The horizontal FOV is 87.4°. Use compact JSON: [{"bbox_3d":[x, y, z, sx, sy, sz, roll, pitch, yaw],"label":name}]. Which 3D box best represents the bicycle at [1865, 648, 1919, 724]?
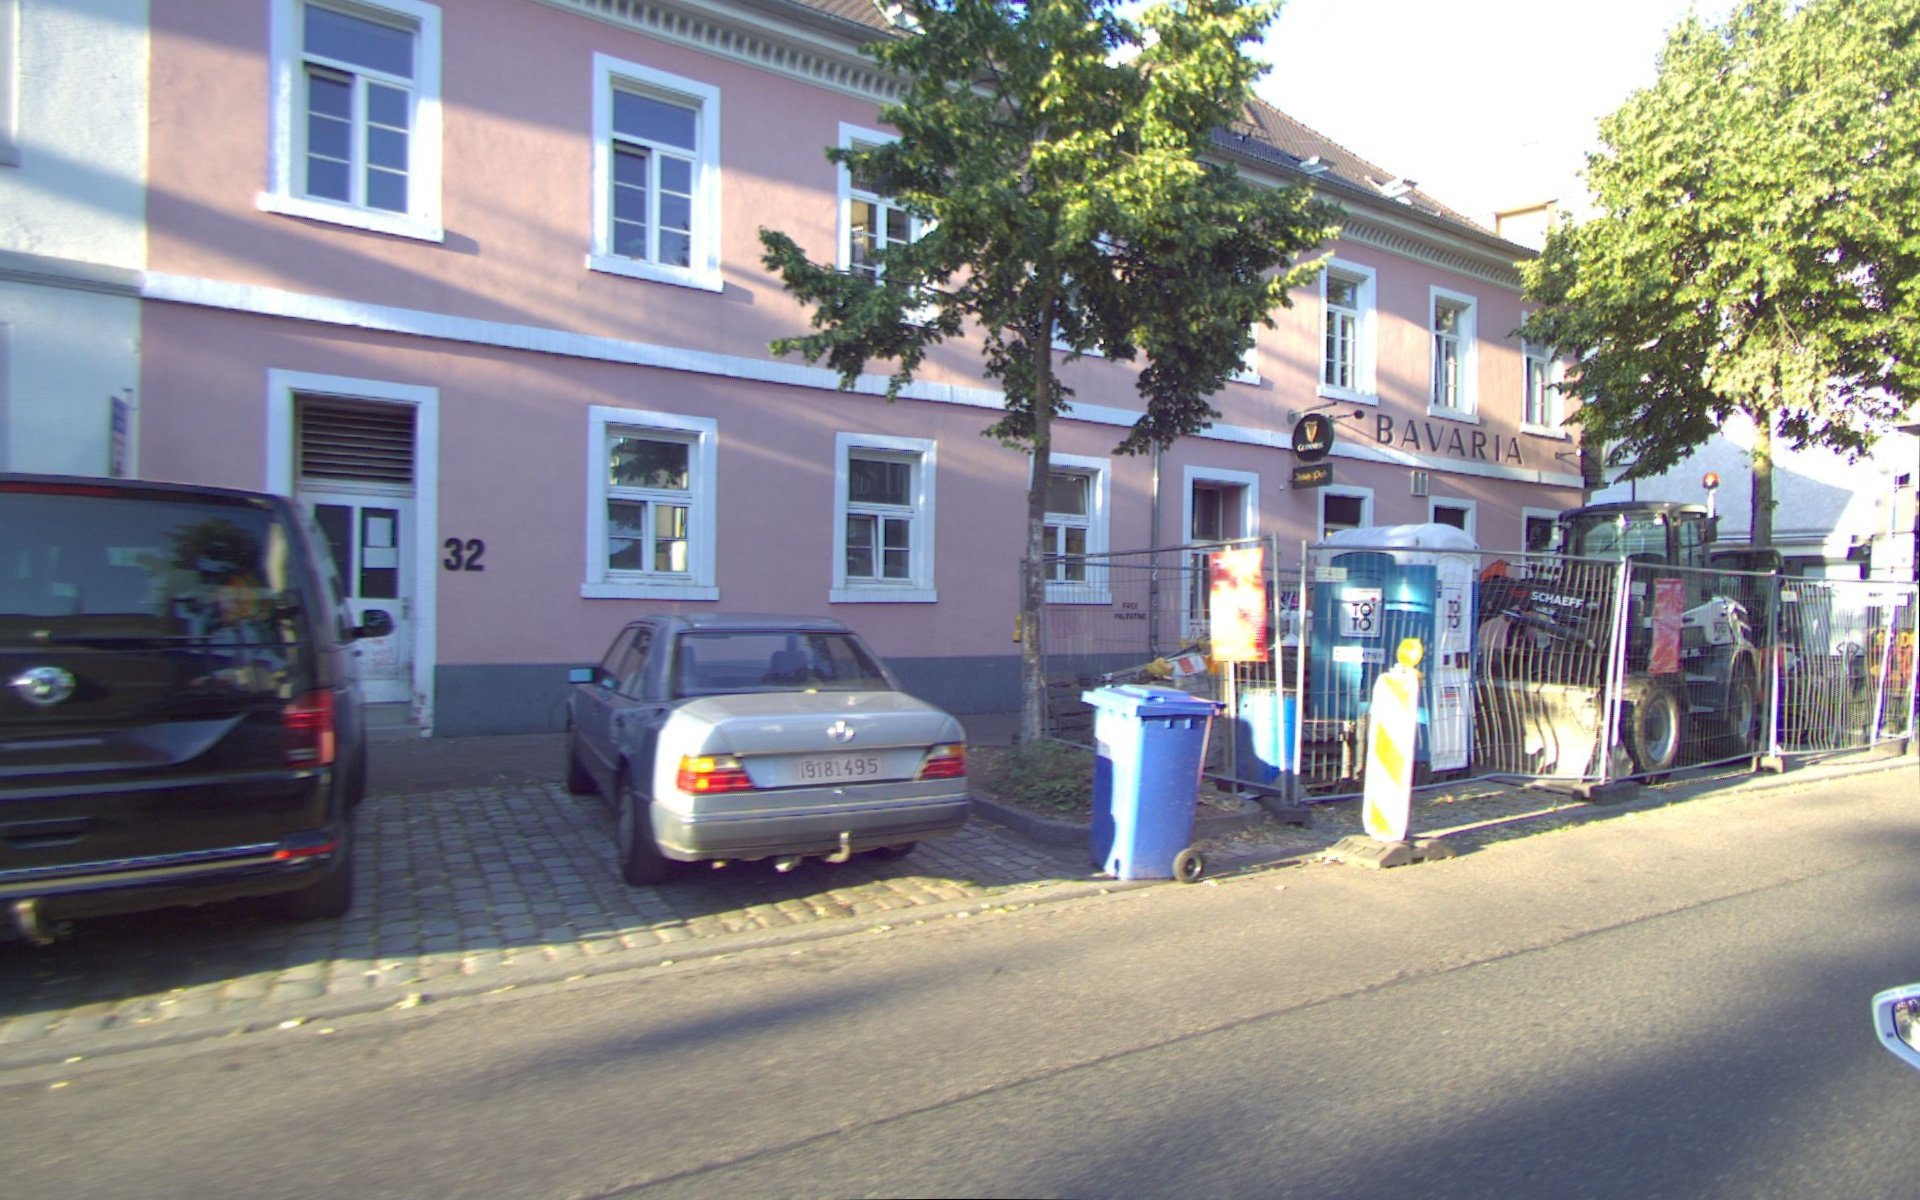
[{"bbox_3d":[14.757,1.337,15.082,0.438,1.093,1.679,2,1,-21],"label":"bicycle"}]

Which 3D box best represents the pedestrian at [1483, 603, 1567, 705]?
[{"bbox_3d":[10.181,0.957,18.111,1.021,1.789,0.817,1,0,-10],"label":"pedestrian"}]

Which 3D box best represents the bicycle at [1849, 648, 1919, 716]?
[{"bbox_3d":[15.923,1.383,16.801,0.466,1.073,1.477,2,0,-35],"label":"bicycle"}]

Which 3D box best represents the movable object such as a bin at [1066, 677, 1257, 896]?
[{"bbox_3d":[1.173,1.041,5.904,0.872,1.119,0.687,1,-1,-28],"label":"movable object such as a bin"}]

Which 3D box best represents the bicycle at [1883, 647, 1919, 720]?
[{"bbox_3d":[15.276,1.343,15.335,0.438,1.093,1.679,2,1,-21],"label":"bicycle"}]

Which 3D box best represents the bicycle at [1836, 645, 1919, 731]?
[{"bbox_3d":[13.536,1.267,14.265,1.521,1.131,0.444,4,2,28],"label":"bicycle"}]

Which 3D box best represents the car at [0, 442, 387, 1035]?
[{"bbox_3d":[-4.251,0.439,5.383,1.943,2.002,4.460,1,1,-31],"label":"car"}]

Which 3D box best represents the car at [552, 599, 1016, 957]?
[{"bbox_3d":[-1.561,0.770,6.765,1.868,1.489,4.578,1,0,-26],"label":"car"}]

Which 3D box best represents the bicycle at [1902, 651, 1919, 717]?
[{"bbox_3d":[15.904,1.394,15.680,0.438,1.035,1.679,2,1,-21],"label":"bicycle"}]

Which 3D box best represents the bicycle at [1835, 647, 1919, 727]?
[{"bbox_3d":[14.177,1.312,14.925,0.439,1.093,1.674,2,2,-30],"label":"bicycle"}]

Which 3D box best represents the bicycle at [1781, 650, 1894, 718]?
[{"bbox_3d":[14.446,1.363,16.567,0.438,0.993,1.320,2,0,-26],"label":"bicycle"}]

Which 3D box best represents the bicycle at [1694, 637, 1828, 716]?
[{"bbox_3d":[13.201,1.233,16.611,0.438,1.164,1.677,2,0,-26],"label":"bicycle"}]

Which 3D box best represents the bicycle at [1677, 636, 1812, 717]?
[{"bbox_3d":[12.661,1.214,16.263,0.438,1.164,1.677,2,0,-26],"label":"bicycle"}]

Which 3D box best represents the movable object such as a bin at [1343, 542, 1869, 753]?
[{"bbox_3d":[8.450,0.551,13.879,5.638,2.528,2.315,1,0,14],"label":"movable object such as a bin"}]

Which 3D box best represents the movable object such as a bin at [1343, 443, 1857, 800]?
[{"bbox_3d":[7.014,0.225,10.929,5.241,3.008,2.612,1,0,-30],"label":"movable object such as a bin"}]
